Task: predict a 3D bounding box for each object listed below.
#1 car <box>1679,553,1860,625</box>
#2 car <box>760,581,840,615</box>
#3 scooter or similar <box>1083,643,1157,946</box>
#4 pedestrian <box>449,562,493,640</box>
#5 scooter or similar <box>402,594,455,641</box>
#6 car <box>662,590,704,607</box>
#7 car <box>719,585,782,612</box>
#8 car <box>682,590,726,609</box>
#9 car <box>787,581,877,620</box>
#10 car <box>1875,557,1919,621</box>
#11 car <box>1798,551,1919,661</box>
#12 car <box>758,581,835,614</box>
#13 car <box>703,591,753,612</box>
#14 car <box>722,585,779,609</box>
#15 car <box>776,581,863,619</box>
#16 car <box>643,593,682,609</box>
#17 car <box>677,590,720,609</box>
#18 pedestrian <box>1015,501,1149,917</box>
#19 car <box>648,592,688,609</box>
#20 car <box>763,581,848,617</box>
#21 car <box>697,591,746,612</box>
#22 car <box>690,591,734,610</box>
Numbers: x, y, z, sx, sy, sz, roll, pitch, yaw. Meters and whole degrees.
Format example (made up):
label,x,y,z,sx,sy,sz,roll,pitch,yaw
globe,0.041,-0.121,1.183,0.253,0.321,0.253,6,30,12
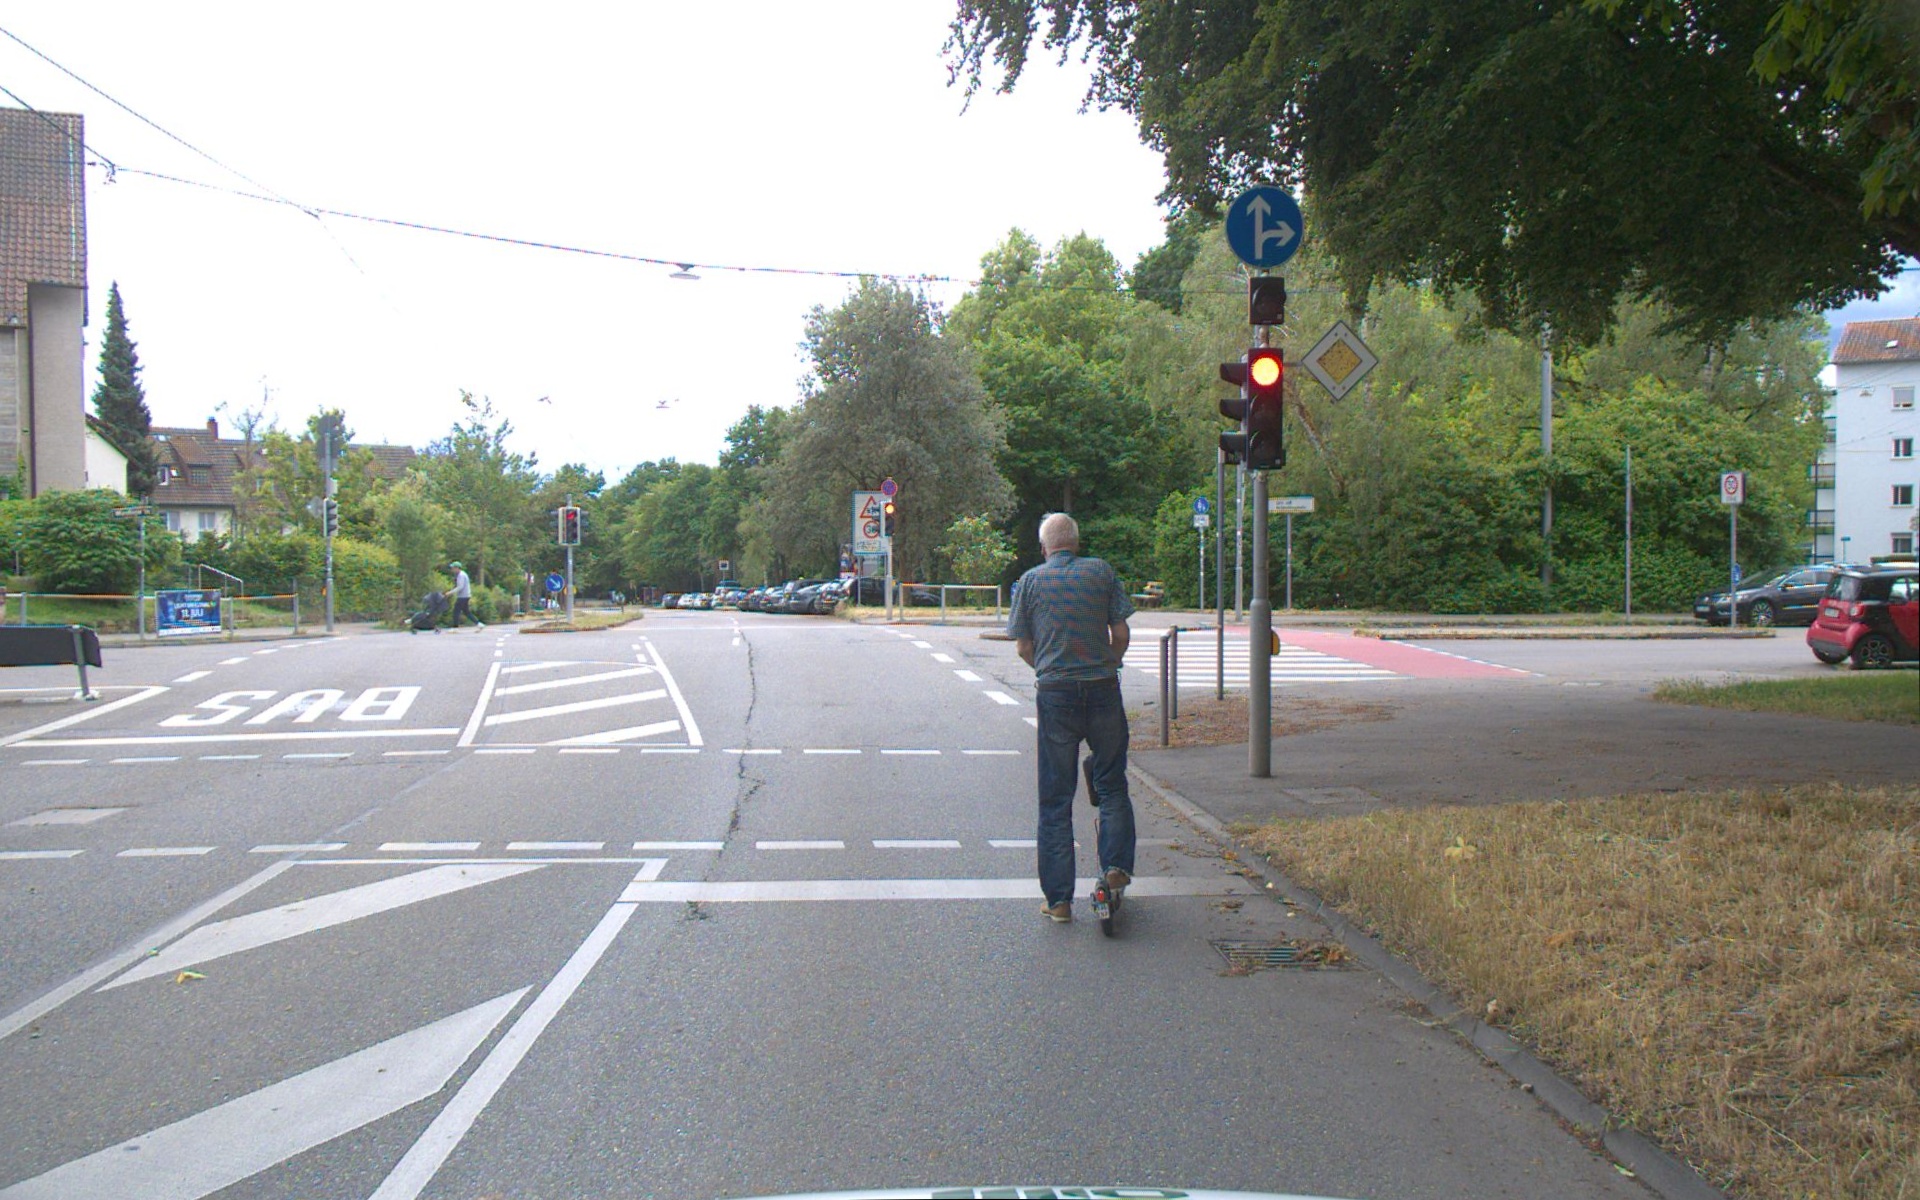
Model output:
label,x,y,z,sx,sy,sz,roll,pitch,yaw
car,19.151,-0.265,39.233,3.444,1.557,1.729,-2,1,5
car,-8.361,-0.125,86.520,3.790,1.639,1.716,-2,1,-24
scooter or similar,0.727,0.815,7.391,0.276,1.199,1.178,-1,1,7
pedestrian,-11.996,0.022,40.539,0.876,1.895,0.567,-1,1,-35
scooter or similar,-12.836,0.417,39.952,1.098,1.100,0.571,-1,1,-34
car,-27.680,-0.156,165.417,3.790,1.639,1.716,-2,1,-24
car,-13.776,-0.081,108.713,3.790,1.639,1.716,-2,1,-24
car,-24.110,-0.051,155.834,3.790,1.639,1.716,-2,1,-24
car,-5.928,0.011,76.666,3.792,1.639,1.715,-2,1,-25
car,26.403,-0.339,45.813,1.689,1.639,3.850,-1,1,27
car,15.252,0.045,25.832,3.444,1.639,1.729,-2,1,4
car,-8.800,-0.138,88.925,3.790,1.639,1.716,-2,1,-24
car,-19.450,0.128,138.792,3.790,1.639,1.716,-2,1,-24
car,-15.431,-0.217,121.657,3.790,1.639,1.716,-2,1,-24
car,-6.722,-0.008,79.196,3.790,1.639,1.716,-2,1,-24
car,-31.920,0.085,177.484,3.790,1.639,1.716,-2,1,-24
car,-25.041,-0.078,158.391,3.790,1.639,1.716,-2,1,-24
pedestrian,0.565,0.485,7.564,0.560,1.845,0.421,-1,0,7
car,-30.912,0.026,175.162,3.790,1.639,1.716,-2,1,-24
car,-7.573,-0.062,81.218,3.790,1.639,1.716,-2,1,-24
car,-20.544,0.096,142.451,3.790,1.639,1.716,-2,1,-24
car,-23.051,0.022,153.717,3.790,1.639,1.716,-2,1,-24
